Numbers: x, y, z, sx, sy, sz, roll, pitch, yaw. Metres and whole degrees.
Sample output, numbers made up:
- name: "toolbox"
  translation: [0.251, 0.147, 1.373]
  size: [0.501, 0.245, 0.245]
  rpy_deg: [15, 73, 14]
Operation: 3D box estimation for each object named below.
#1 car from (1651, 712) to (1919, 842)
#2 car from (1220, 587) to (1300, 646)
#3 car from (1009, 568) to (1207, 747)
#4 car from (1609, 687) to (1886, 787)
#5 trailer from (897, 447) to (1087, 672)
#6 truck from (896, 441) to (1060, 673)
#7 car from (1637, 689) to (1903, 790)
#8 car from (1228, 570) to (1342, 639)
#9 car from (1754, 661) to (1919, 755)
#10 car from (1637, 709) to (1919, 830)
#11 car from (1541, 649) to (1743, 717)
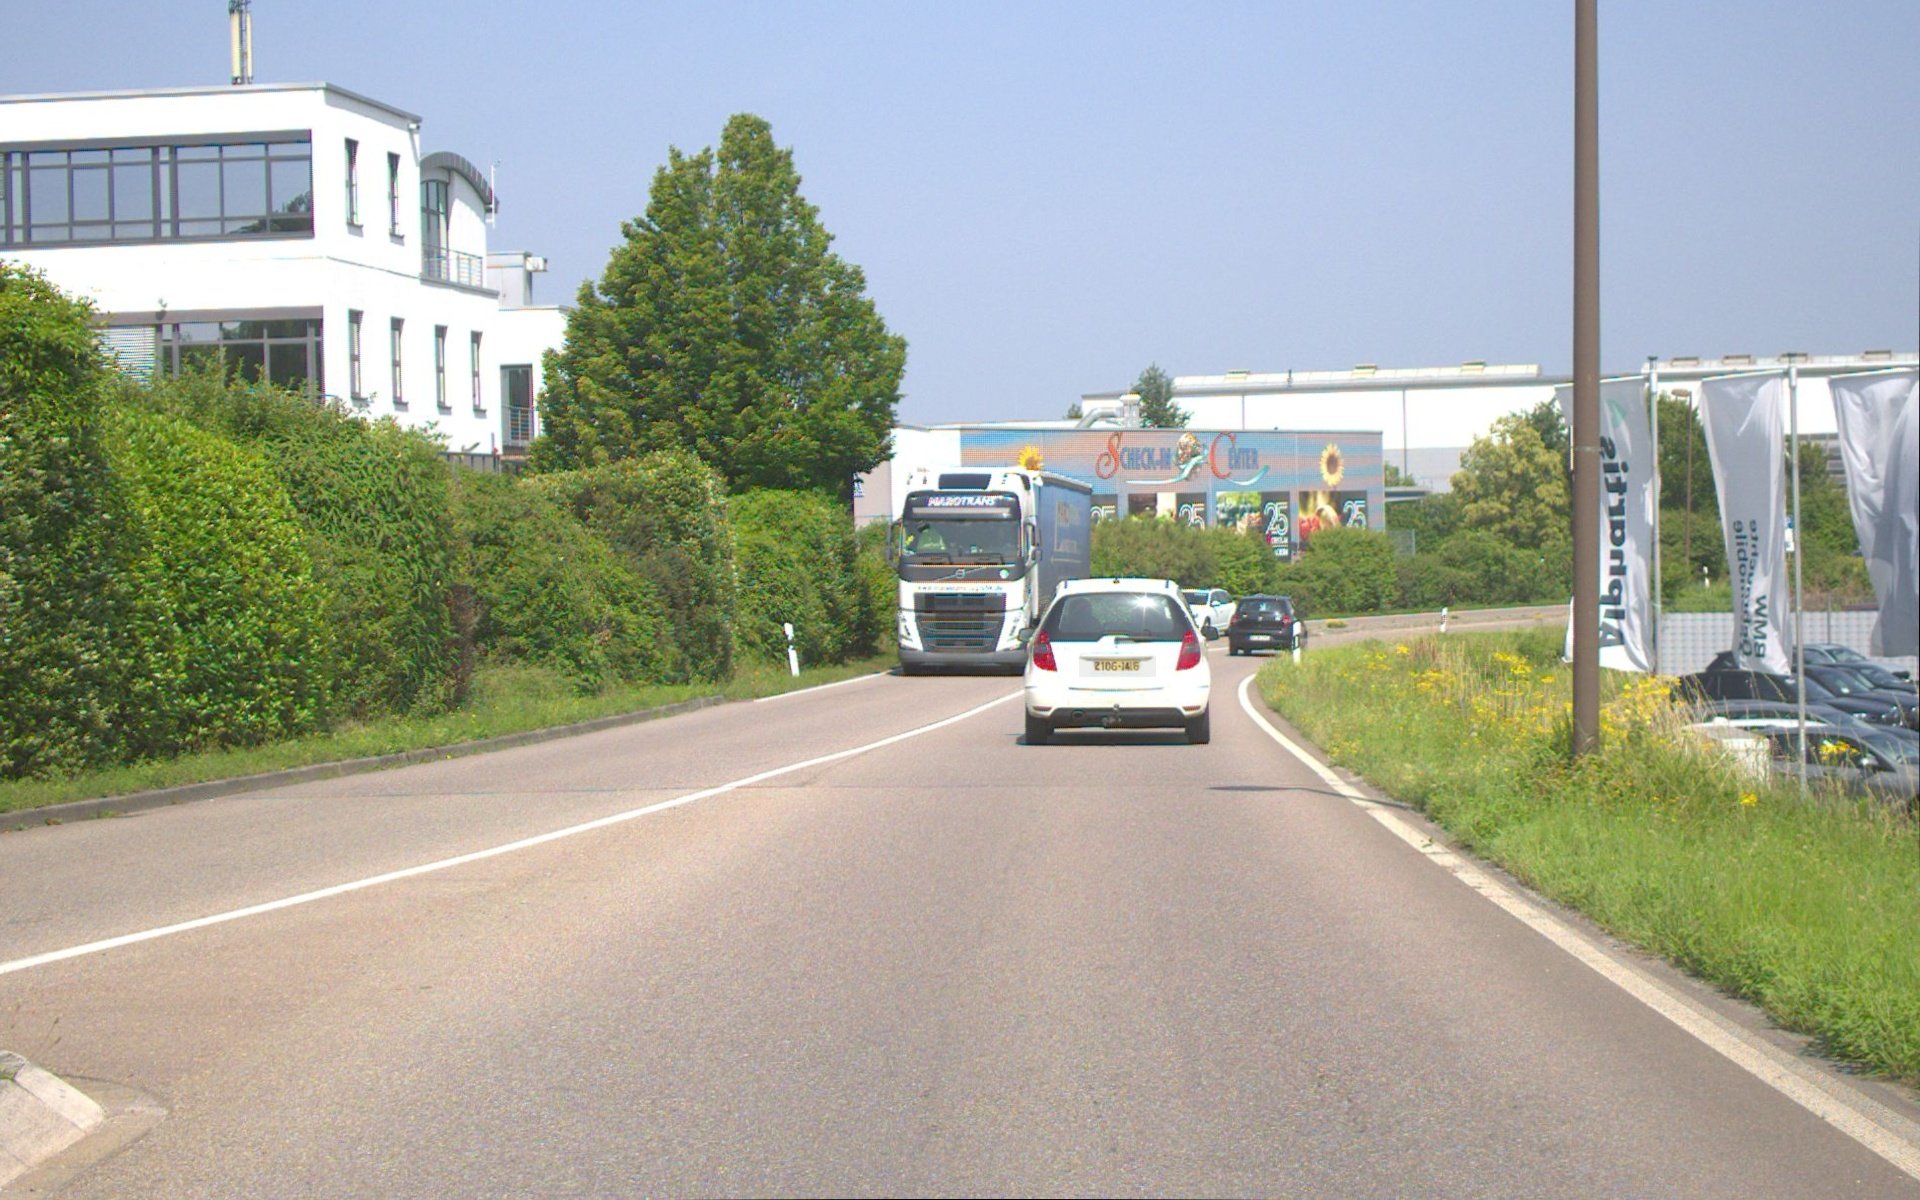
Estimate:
- name: "car"
  translation: [11.384, 2.304, 45.262]
  size: [4.167, 1.518, 1.686]
  rpy_deg: [0, 0, 37]
- name: "car"
  translation: [7.634, 0.414, 87.179]
  size: [1.829, 1.465, 4.408]
  rpy_deg: [0, 0, 7]
- name: "car"
  translation: [1.488, 0.518, 33.770]
  size: [1.781, 1.598, 3.893]
  rpy_deg: [2, 1, 4]
- name: "car"
  translation: [13.240, 2.276, 57.885]
  size: [4.166, 1.518, 1.853]
  rpy_deg: [0, 0, 33]
- name: "trailer"
  translation: [0.875, -0.748, 72.190]
  size: [2.670, 4.227, 14.562]
  rpy_deg: [1, 0, 6]
- name: "truck"
  translation: [0.415, -0.778, 66.701]
  size: [2.513, 4.243, 6.111]
  rpy_deg: [-1, 0, 6]
- name: "car"
  translation: [15.583, 2.653, 66.233]
  size: [4.638, 1.695, 1.852]
  rpy_deg: [0, 2, 38]
- name: "car"
  translation: [9.646, 0.129, 101.924]
  size: [1.996, 2.007, 3.994]
  rpy_deg: [0, 0, 27]
- name: "car"
  translation: [18.320, 2.146, 68.973]
  size: [4.232, 1.695, 1.914]
  rpy_deg: [1, 2, 41]
- name: "car"
  translation: [11.837, 2.361, 48.437]
  size: [4.166, 1.518, 1.748]
  rpy_deg: [0, 0, 33]
- name: "car"
  translation: [17.126, 2.070, 86.421]
  size: [4.637, 1.599, 1.853]
  rpy_deg: [0, 0, 33]
